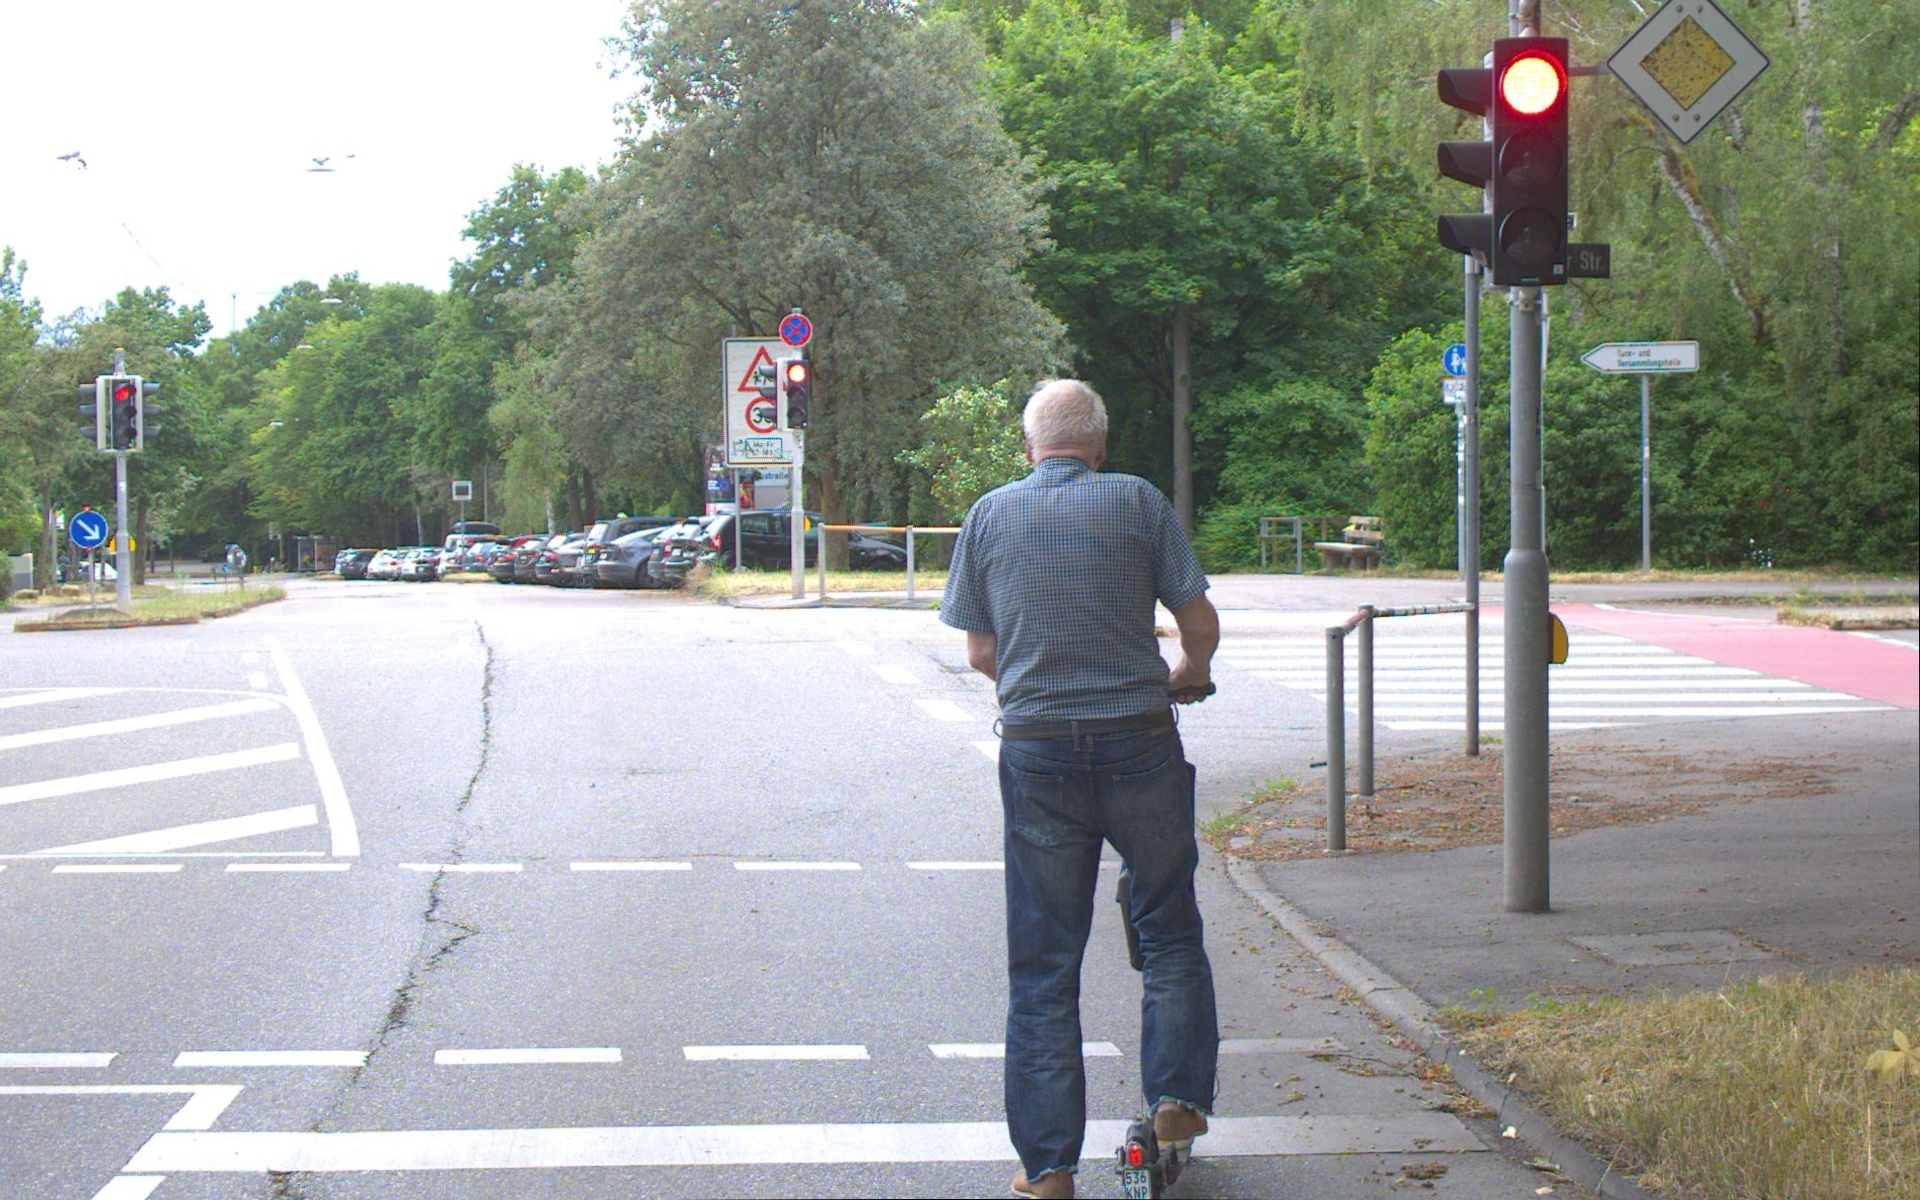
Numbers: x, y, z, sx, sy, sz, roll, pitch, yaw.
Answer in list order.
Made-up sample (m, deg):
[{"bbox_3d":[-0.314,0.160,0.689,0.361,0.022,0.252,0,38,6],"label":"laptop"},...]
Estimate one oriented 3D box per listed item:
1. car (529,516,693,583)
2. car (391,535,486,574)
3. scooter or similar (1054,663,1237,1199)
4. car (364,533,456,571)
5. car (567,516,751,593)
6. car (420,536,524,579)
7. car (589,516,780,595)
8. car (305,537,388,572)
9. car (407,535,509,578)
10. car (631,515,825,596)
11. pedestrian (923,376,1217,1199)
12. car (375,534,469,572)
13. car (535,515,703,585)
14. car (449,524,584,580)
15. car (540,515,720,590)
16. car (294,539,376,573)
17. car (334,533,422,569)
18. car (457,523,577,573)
[{"bbox_3d":[-9.041,-1.317,89.071,3.840,1.605,1.729,-3,2,-23],"label":"car"},{"bbox_3d":[-23.373,-2.045,154.082,3.840,1.605,1.729,-3,2,-23],"label":"car"},{"bbox_3d":[0.415,0.751,7.408,0.282,1.174,1.177,-1,1,8],"label":"scooter or similar"},{"bbox_3d":[-25.389,-2.204,158.784,3.840,1.605,1.729,-3,2,-23],"label":"car"},{"bbox_3d":[-6.952,-1.057,79.312,3.840,1.605,1.729,-3,2,-23],"label":"car"},{"bbox_3d":[-19.746,-1.738,139.103,3.840,1.605,1.729,-3,2,-23],"label":"car"},{"bbox_3d":[-6.150,-1.005,76.771,3.841,1.605,1.728,-3,2,-24],"label":"car"},{"bbox_3d":[-31.325,-2.325,175.645,3.840,1.605,1.729,-3,2,-23],"label":"car"},{"bbox_3d":[-20.851,-1.818,142.778,3.840,1.605,1.729,-3,2,-23],"label":"car"},{"bbox_3d":[-5.049,-0.974,74.800,3.840,1.605,1.729,-3,2,-21],"label":"car"},{"bbox_3d":[0.250,0.425,7.578,0.573,1.807,0.420,-1,1,8],"label":"pedestrian"},{"bbox_3d":[-24.447,-2.143,156.214,3.840,1.605,1.729,-3,2,-23],"label":"car"},{"bbox_3d":[-8.601,-1.271,86.659,3.840,1.605,1.729,-3,2,-23],"label":"car"},{"bbox_3d":[-14.054,-1.529,108.935,3.840,1.605,1.729,-3,2,-23],"label":"car"},{"bbox_3d":[-7.814,-1.136,81.346,3.840,1.605,1.729,-3,2,-23],"label":"car"},{"bbox_3d":[-32.347,-2.298,177.984,3.840,1.605,1.729,-3,2,-23],"label":"car"},{"bbox_3d":[-28.059,-2.373,165.849,3.840,1.605,1.729,-3,2,-23],"label":"car"},{"bbox_3d":[-15.701,-1.843,121.902,3.840,1.605,1.729,-3,2,-23],"label":"car"}]
